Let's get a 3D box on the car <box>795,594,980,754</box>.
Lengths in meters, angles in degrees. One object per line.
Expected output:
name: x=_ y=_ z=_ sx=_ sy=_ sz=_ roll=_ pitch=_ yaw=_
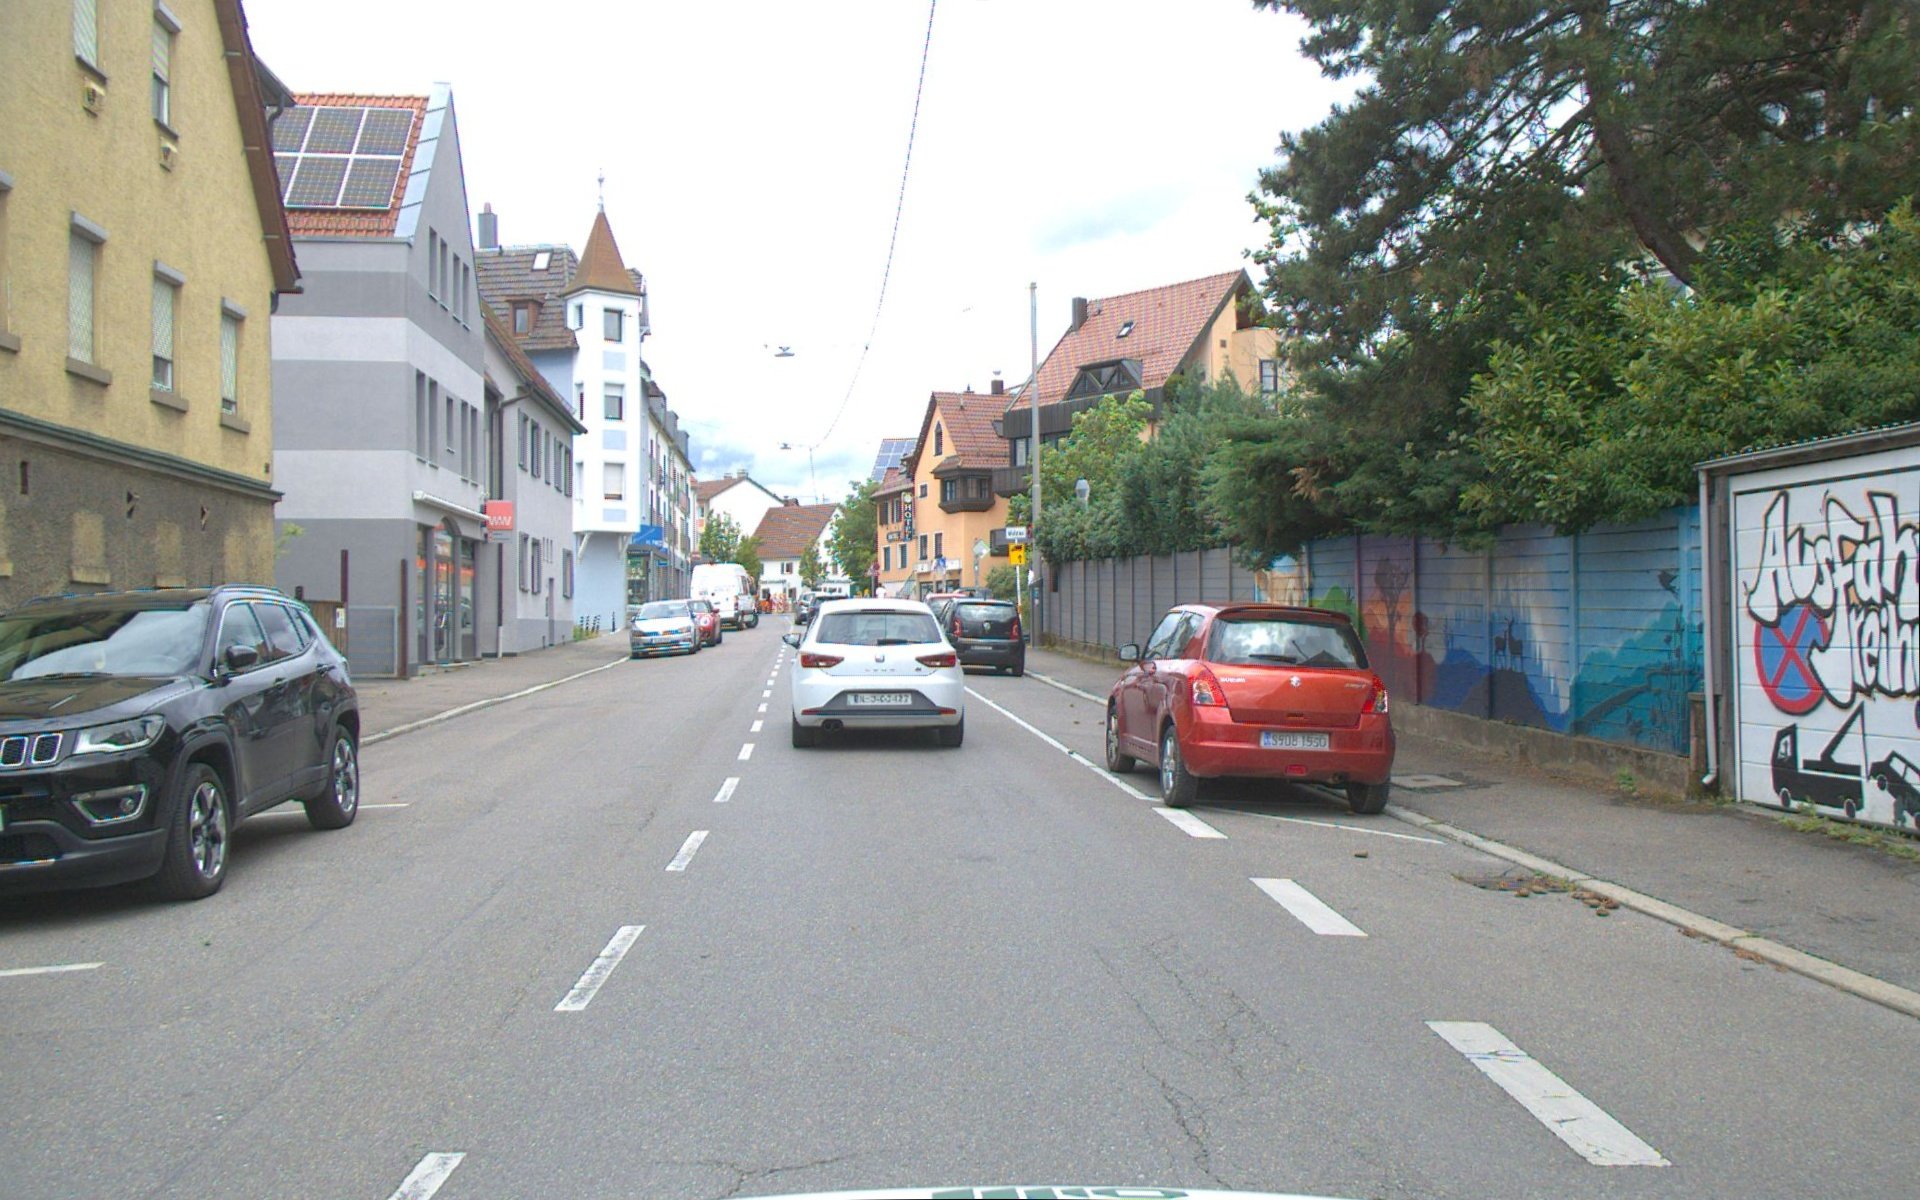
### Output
car: x=-0.846 y=0.682 z=17.561 sx=1.724 sy=1.477 sz=3.996 roll=-1 pitch=0 yaw=-5

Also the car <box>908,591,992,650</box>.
car: x=-0.318 y=0.512 z=44.294 sx=1.725 sy=1.477 sz=3.993 roll=-1 pitch=0 yaw=-8

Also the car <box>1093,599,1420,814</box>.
car: x=2.268 y=0.759 z=13.687 sx=1.724 sy=1.477 sz=3.997 roll=1 pitch=0 yaw=-4

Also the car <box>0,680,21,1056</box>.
car: x=-4.218 y=0.610 z=3.375 sx=1.954 sy=2.048 sz=4.668 roll=-3 pitch=1 yaw=-2

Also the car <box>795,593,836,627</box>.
car: x=-6.568 y=0.417 z=74.656 sx=1.725 sy=1.477 sz=3.994 roll=-1 pitch=0 yaw=-7

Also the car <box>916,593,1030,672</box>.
car: x=0.195 y=0.609 z=33.387 sx=1.725 sy=1.477 sz=3.993 roll=-1 pitch=0 yaw=-8

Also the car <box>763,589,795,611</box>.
car: x=-14.459 y=-0.020 z=132.265 sx=1.756 sy=1.731 sz=4.003 roll=0 pitch=0 yaw=5

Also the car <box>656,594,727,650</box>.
car: x=-8.161 y=0.641 z=50.548 sx=1.764 sy=1.505 sz=4.046 roll=-3 pitch=1 yaw=-5

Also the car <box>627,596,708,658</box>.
car: x=-7.888 y=0.696 z=44.930 sx=1.764 sy=1.505 sz=4.046 roll=-3 pitch=1 yaw=-5

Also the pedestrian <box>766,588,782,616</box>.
pedestrian: x=-13.996 y=0.139 z=124.457 sx=1.204 sy=2.049 sz=1.174 roll=0 pitch=0 yaw=-5

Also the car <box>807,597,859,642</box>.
car: x=-4.448 y=0.662 z=57.769 sx=1.724 sy=1.477 sz=3.996 roll=-1 pitch=0 yaw=-5

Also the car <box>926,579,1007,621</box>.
car: x=0.252 y=0.004 z=63.597 sx=2.763 sy=1.538 sz=1.701 roll=0 pitch=2 yaw=-16

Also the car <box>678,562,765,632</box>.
car: x=-9.661 y=-0.150 z=67.482 sx=2.106 sy=2.734 sz=5.549 roll=0 pitch=1 yaw=7

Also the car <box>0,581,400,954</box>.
car: x=-4.915 y=0.779 z=9.926 sx=1.860 sy=1.647 sz=4.521 roll=-2 pitch=2 yaw=-5
